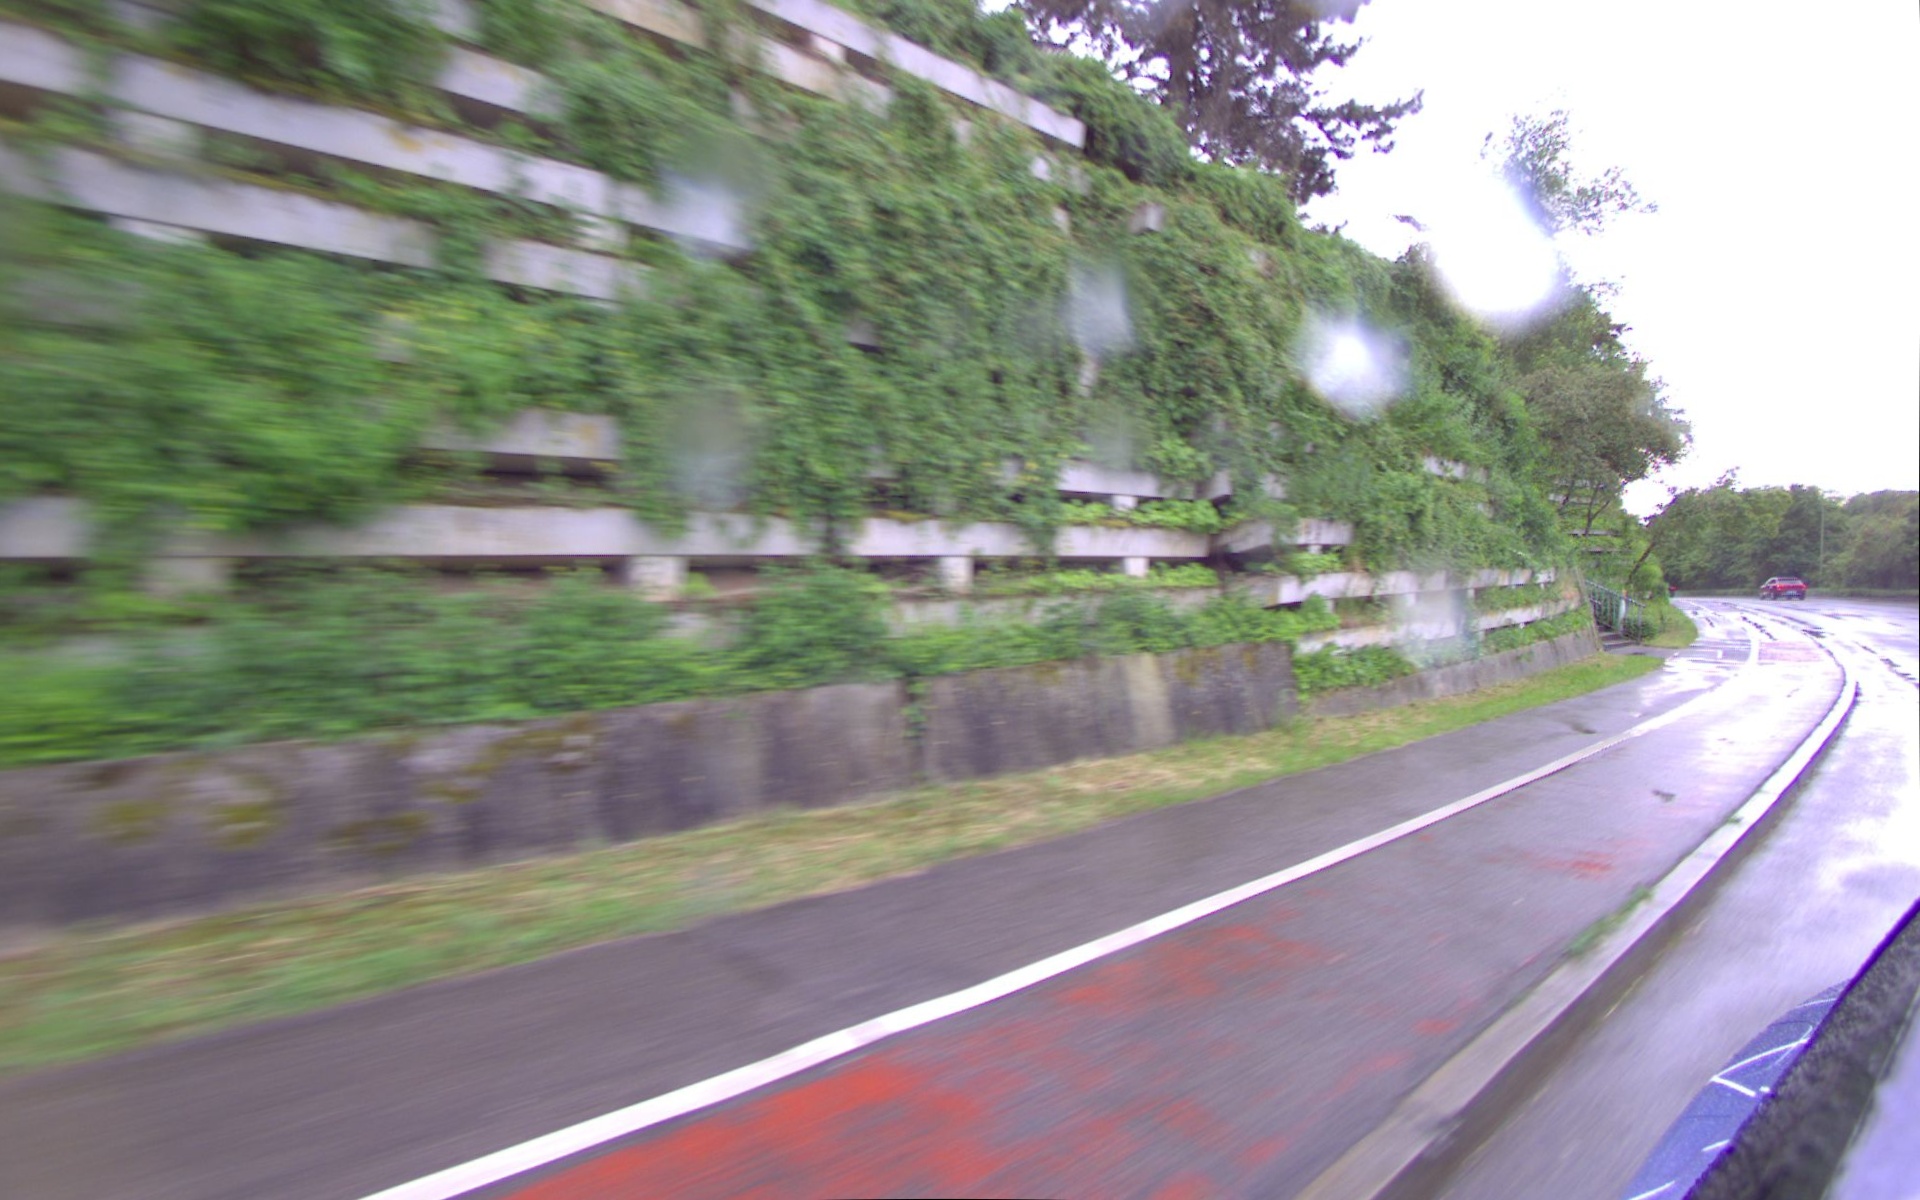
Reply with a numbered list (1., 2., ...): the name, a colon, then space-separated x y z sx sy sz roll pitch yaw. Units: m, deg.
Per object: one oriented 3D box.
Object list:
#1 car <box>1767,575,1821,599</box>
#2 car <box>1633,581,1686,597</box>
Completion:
1. car: 56.877 -0.863 69.118 1.740 1.555 3.969 1 0 23
2. car: 68.878 -1.099 99.734 1.694 1.480 4.548 0 1 -6
